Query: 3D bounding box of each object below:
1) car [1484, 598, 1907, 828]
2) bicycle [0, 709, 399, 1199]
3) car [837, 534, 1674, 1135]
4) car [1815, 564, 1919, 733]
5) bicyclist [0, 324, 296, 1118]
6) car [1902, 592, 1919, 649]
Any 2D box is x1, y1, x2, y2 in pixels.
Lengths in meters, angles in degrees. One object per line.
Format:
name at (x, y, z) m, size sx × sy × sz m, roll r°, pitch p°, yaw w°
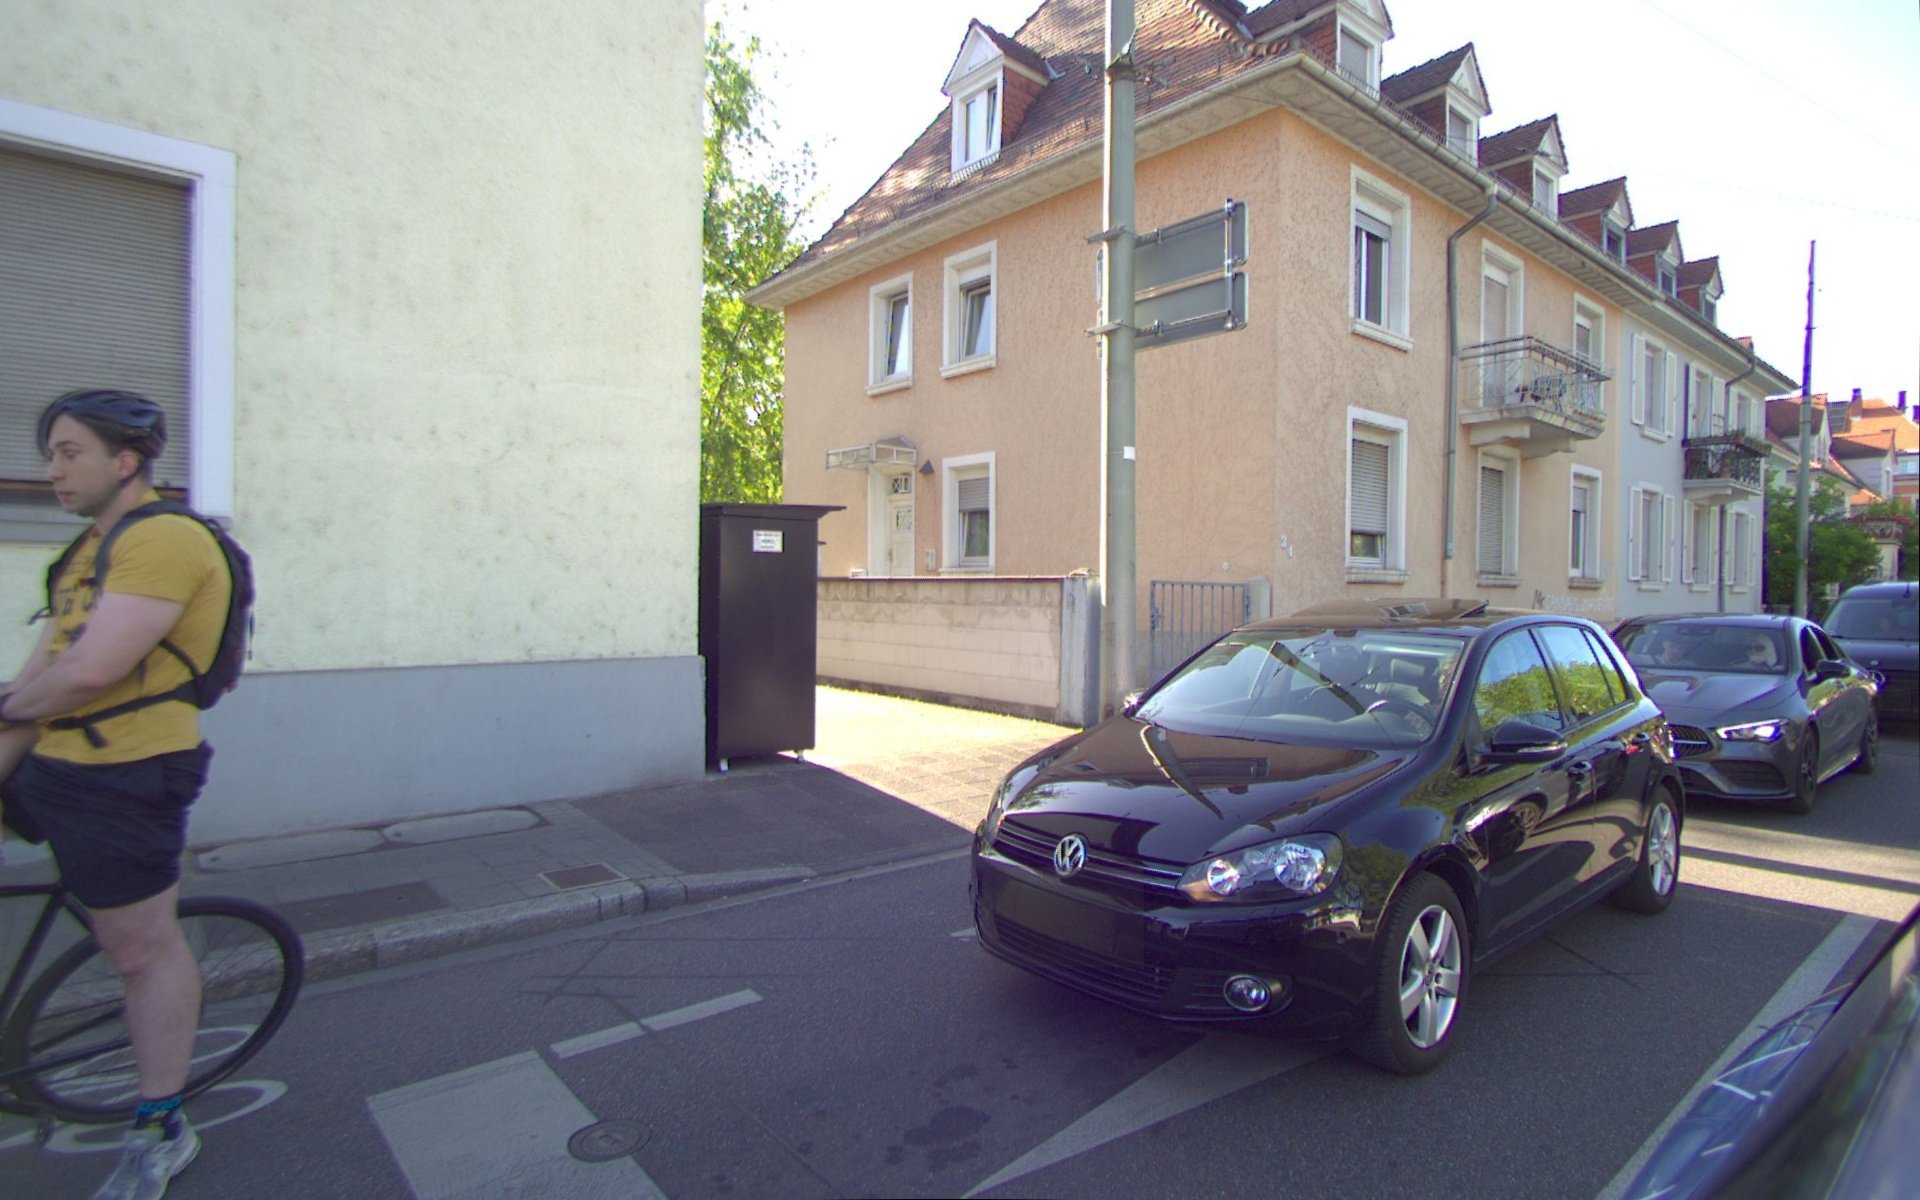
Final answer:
car at (6.429, 0.720, 8.652) m, size 4.413 × 1.437 × 1.911 m, roll -1°, pitch 1°, yaw -40°
bicycle at (-2.379, 0.882, 2.381) m, size 1.749 × 1.044 × 0.756 m, roll -1°, pitch 0°, yaw -40°
car at (1.602, 0.639, 4.551) m, size 3.979 × 1.527 × 1.731 m, roll 2°, pitch -1°, yaw -41°
car at (12.176, 0.497, 12.423) m, size 4.695 × 1.827 × 1.864 m, roll -1°, pitch 0°, yaw -41°
bicyclist at (-2.222, 0.253, 2.518) m, size 0.868 × 1.684 × 0.807 m, roll 0°, pitch 0°, yaw -40°
car at (26.682, 0.517, 27.008) m, size 3.930 × 1.476 × 1.839 m, roll -1°, pitch 0°, yaw -41°
